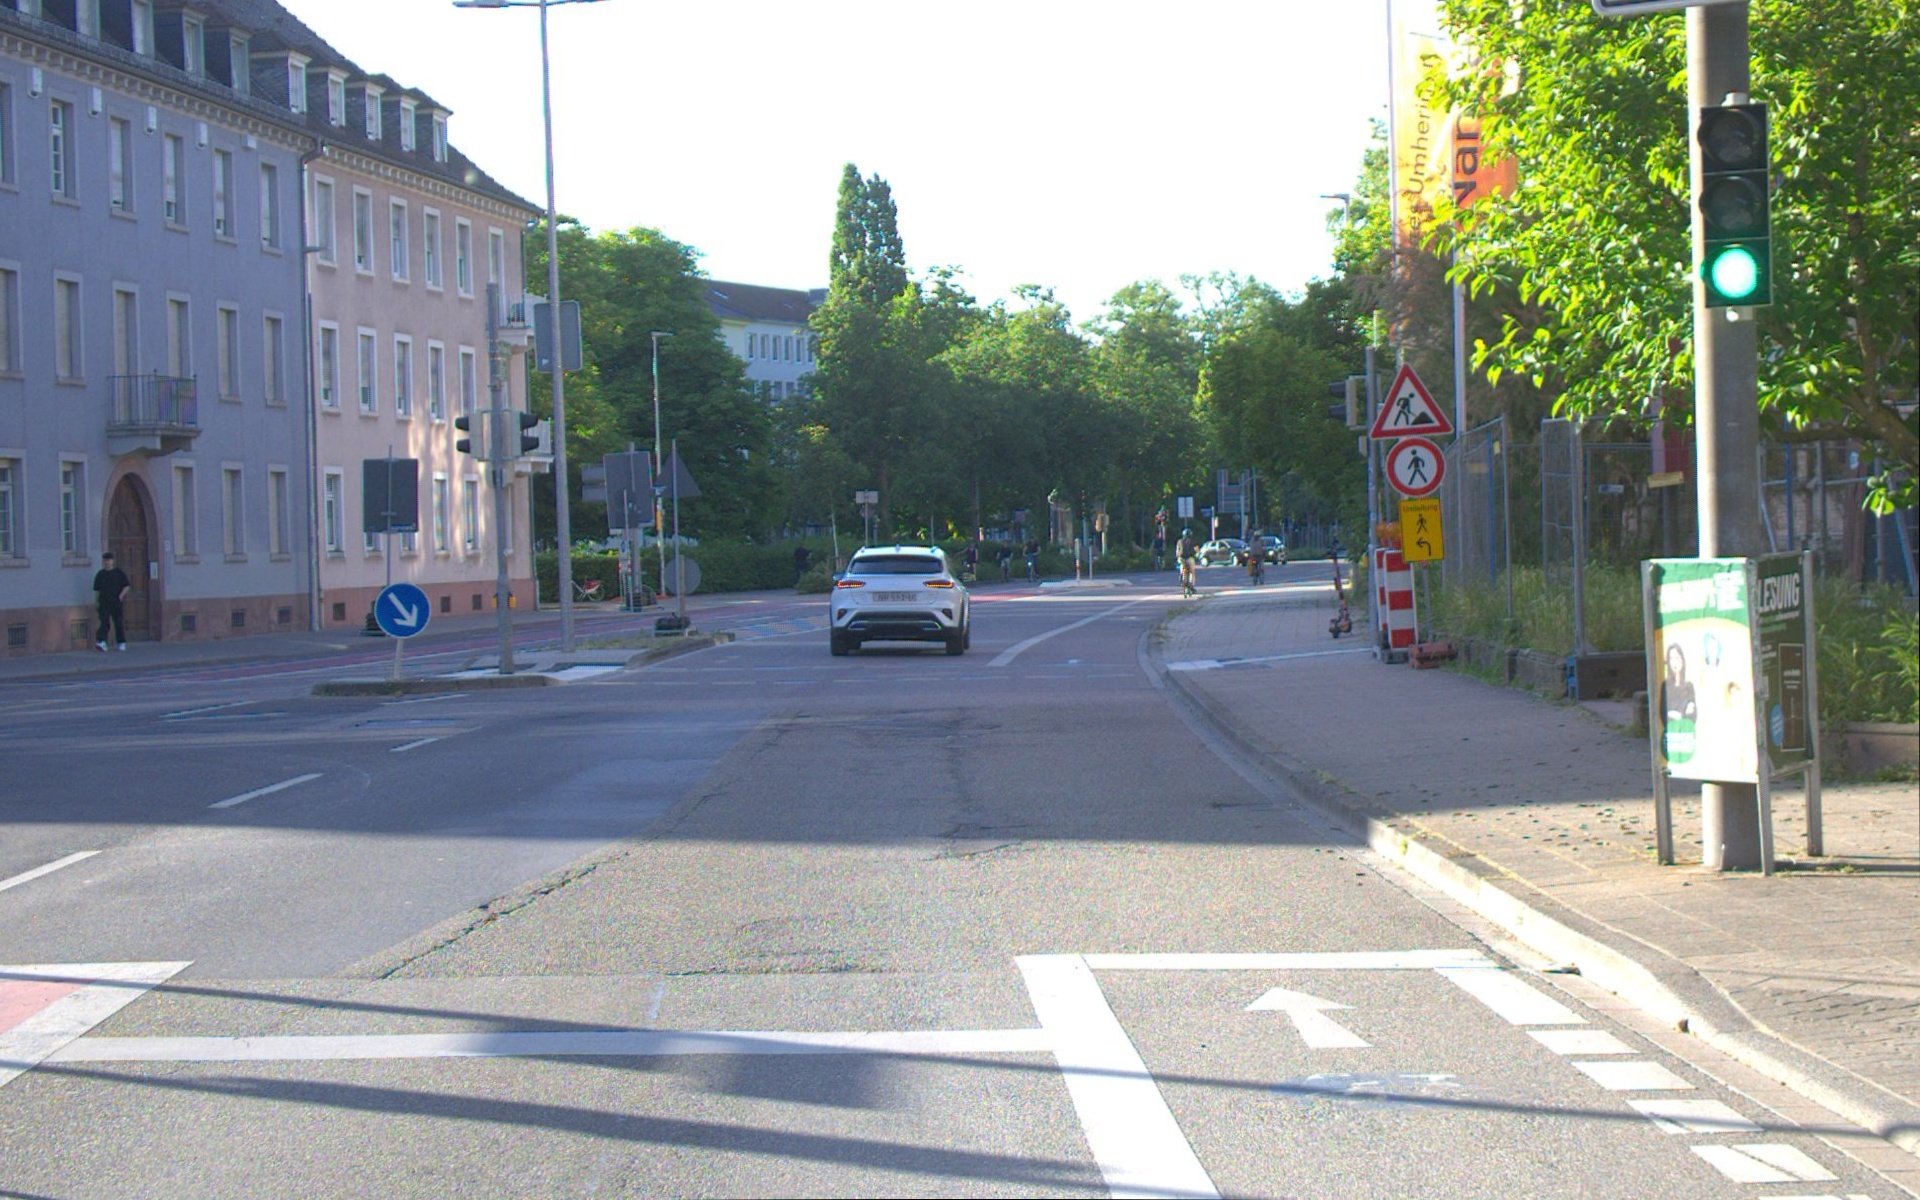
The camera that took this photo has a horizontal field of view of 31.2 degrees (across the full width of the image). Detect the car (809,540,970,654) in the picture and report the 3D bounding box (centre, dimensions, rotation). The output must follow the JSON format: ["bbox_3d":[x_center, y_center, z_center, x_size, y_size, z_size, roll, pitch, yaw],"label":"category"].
[{"bbox_3d":[-0.937,-0.069,48.137,1.993,1.448,4.000,-2,1,2],"label":"car"}]

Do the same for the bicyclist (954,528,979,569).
[{"bbox_3d":[0.262,-1.944,129.810,0.738,1.480,0.665,-3,1,12],"label":"bicyclist"}]

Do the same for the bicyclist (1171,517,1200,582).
[{"bbox_3d":[5.686,-1.280,86.672,0.636,1.609,1.283,-1,1,7],"label":"bicyclist"}]

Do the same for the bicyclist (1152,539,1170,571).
[{"bbox_3d":[9.742,-2.190,166.779,0.629,1.517,0.724,-5,1,12],"label":"bicyclist"}]

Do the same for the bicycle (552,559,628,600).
[{"bbox_3d":[-11.916,-0.668,110.777,2.321,1.225,0.560,-2,1,14],"label":"bicycle"}]

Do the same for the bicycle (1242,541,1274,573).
[{"bbox_3d":[9.689,-1.387,111.704,0.753,1.022,1.868,-1,0,14],"label":"bicycle"}]

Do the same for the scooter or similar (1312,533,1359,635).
[{"bbox_3d":[5.000,-0.228,45.851,0.555,1.304,1.832,-2,1,6],"label":"scooter or similar"}]

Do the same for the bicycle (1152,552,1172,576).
[{"bbox_3d":[9.782,-1.741,166.684,0.597,1.117,2.026,-5,0,12],"label":"bicycle"}]

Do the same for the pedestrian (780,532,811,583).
[{"bbox_3d":[-6.102,-1.579,127.473,0.856,1.845,1.001,-2,1,13],"label":"pedestrian"}]

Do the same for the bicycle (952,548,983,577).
[{"bbox_3d":[0.277,-1.419,129.807,0.737,0.992,2.108,-3,2,11],"label":"bicycle"}]

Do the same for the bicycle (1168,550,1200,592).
[{"bbox_3d":[5.652,-0.743,86.662,0.643,1.021,2.212,0,1,8],"label":"bicycle"}]

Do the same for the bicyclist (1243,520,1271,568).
[{"bbox_3d":[9.639,-1.831,111.574,0.748,1.532,0.969,-1,1,14],"label":"bicyclist"}]

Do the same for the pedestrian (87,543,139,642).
[{"bbox_3d":[-16.071,-0.155,65.214,0.631,1.840,1.013,1,1,6],"label":"pedestrian"}]
